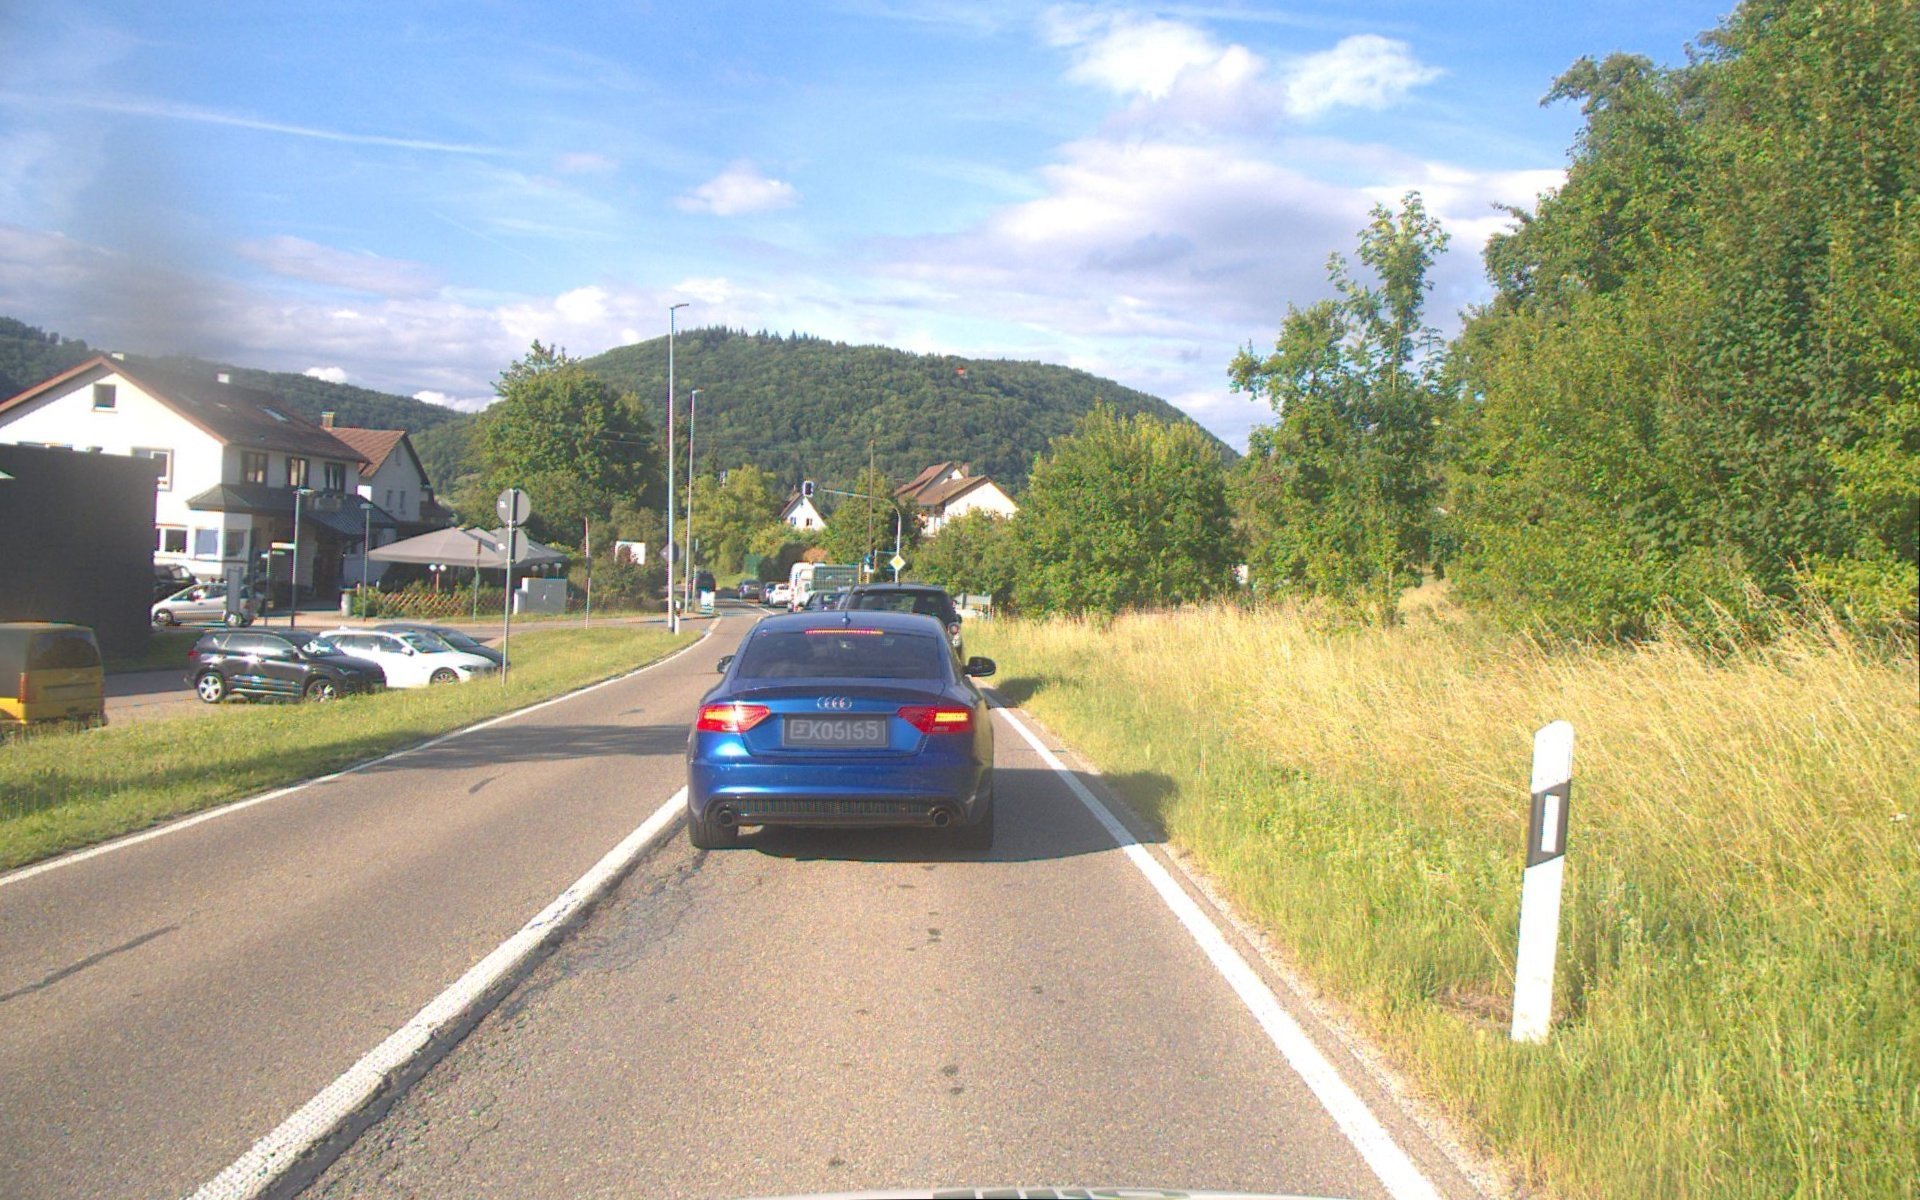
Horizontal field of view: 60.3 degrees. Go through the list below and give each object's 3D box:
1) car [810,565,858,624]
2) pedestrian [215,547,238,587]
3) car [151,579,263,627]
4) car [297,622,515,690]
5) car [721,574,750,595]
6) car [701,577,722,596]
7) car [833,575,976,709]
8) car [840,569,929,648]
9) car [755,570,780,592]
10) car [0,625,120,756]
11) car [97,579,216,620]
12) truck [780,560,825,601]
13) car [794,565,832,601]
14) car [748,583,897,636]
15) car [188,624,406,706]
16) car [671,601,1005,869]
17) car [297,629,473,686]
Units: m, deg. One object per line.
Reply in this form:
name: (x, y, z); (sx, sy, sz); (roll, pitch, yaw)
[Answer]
car: (-5.036, -0.216, 65.546); (1.713, 2.234, 3.994); (1, 0, -7)
pedestrian: (-28.544, -1.295, 64.369); (0.596, 1.529, 0.589); (1, -1, -3)
car: (-27.503, 0.116, 60.526); (3.400, 1.691, 1.734); (1, -1, -14)
car: (-13.599, 1.353, 40.711); (4.711, 1.520, 1.882); (1, 0, 9)
car: (-16.782, -1.119, 123.350); (1.670, 1.516, 3.512); (1, 0, -15)
car: (-22.243, -1.209, 148.212); (1.597, 1.604, 3.668); (1, 0, -12)
car: (-0.686, 0.541, 23.003); (1.710, 1.668, 4.001); (1, 0, 2)
car: (-1.682, 0.196, 38.161); (1.767, 1.668, 4.463); (1, 0, 1)
car: (-14.473, -1.413, 124.132); (1.666, 1.516, 3.519); (1, 0, -10)
car: (-16.016, 1.359, 26.255); (4.512, 1.900, 2.002); (1, 0, 13)
car: (-30.887, -0.001, 63.715); (1.728, 1.467, 4.000); (1, 0, 21)
truck: (-8.134, -0.949, 85.188); (1.667, 1.988, 5.905); (1, 0, -12)
car: (-7.126, -0.812, 79.902); (1.713, 1.668, 3.994); (1, 0, -7)
car: (-4.041, 0.286, 48.787); (3.903, 1.467, 1.921); (1, 0, 18)
car: (-14.524, 1.395, 36.344); (3.939, 1.666, 2.002); (1, 0, 9)
car: (-0.594, 0.726, 10.767); (1.758, 1.412, 4.001); (0, 0, 2)
car: (-14.887, 1.479, 42.946); (3.903, 1.333, 1.762); (1, 0, 5)
